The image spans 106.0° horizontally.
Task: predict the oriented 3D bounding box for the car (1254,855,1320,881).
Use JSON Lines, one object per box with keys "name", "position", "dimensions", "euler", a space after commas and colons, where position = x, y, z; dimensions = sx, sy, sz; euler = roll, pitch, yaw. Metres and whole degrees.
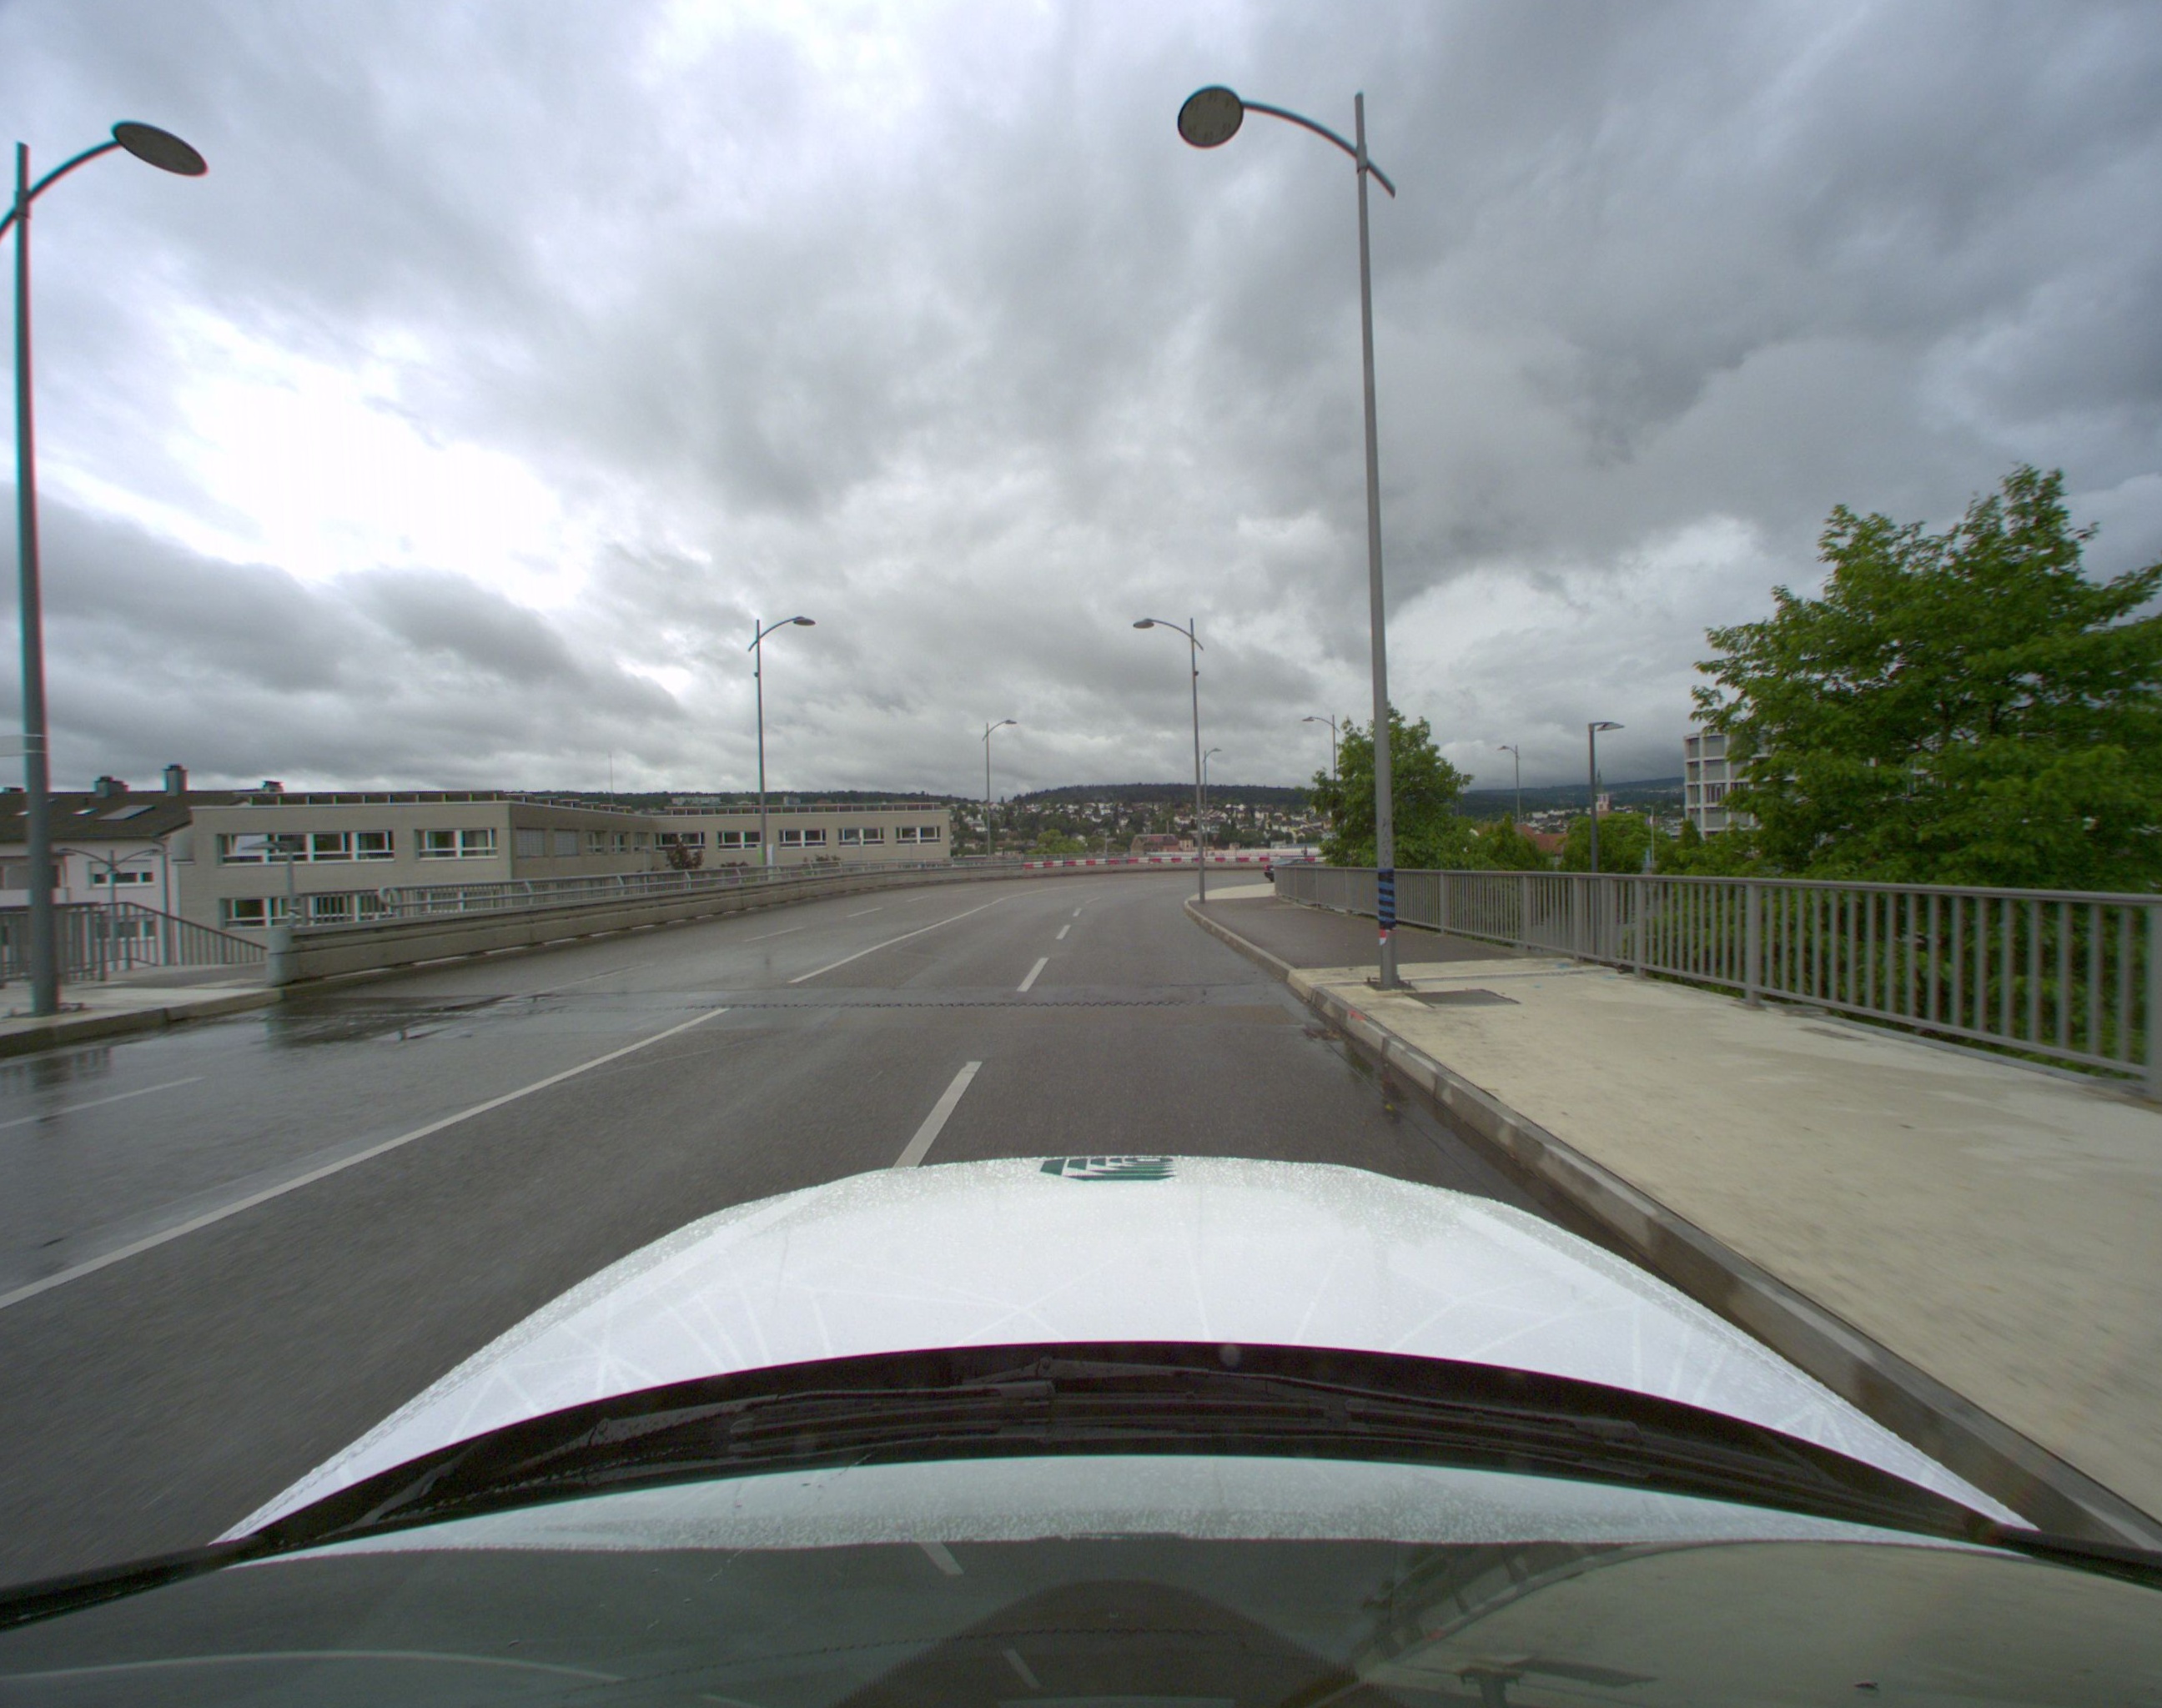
{"name": "car", "position": [11.758, 0.770, 46.440], "dimensions": [3.742, 1.419, 1.693], "euler": [-1, 0, -36]}
